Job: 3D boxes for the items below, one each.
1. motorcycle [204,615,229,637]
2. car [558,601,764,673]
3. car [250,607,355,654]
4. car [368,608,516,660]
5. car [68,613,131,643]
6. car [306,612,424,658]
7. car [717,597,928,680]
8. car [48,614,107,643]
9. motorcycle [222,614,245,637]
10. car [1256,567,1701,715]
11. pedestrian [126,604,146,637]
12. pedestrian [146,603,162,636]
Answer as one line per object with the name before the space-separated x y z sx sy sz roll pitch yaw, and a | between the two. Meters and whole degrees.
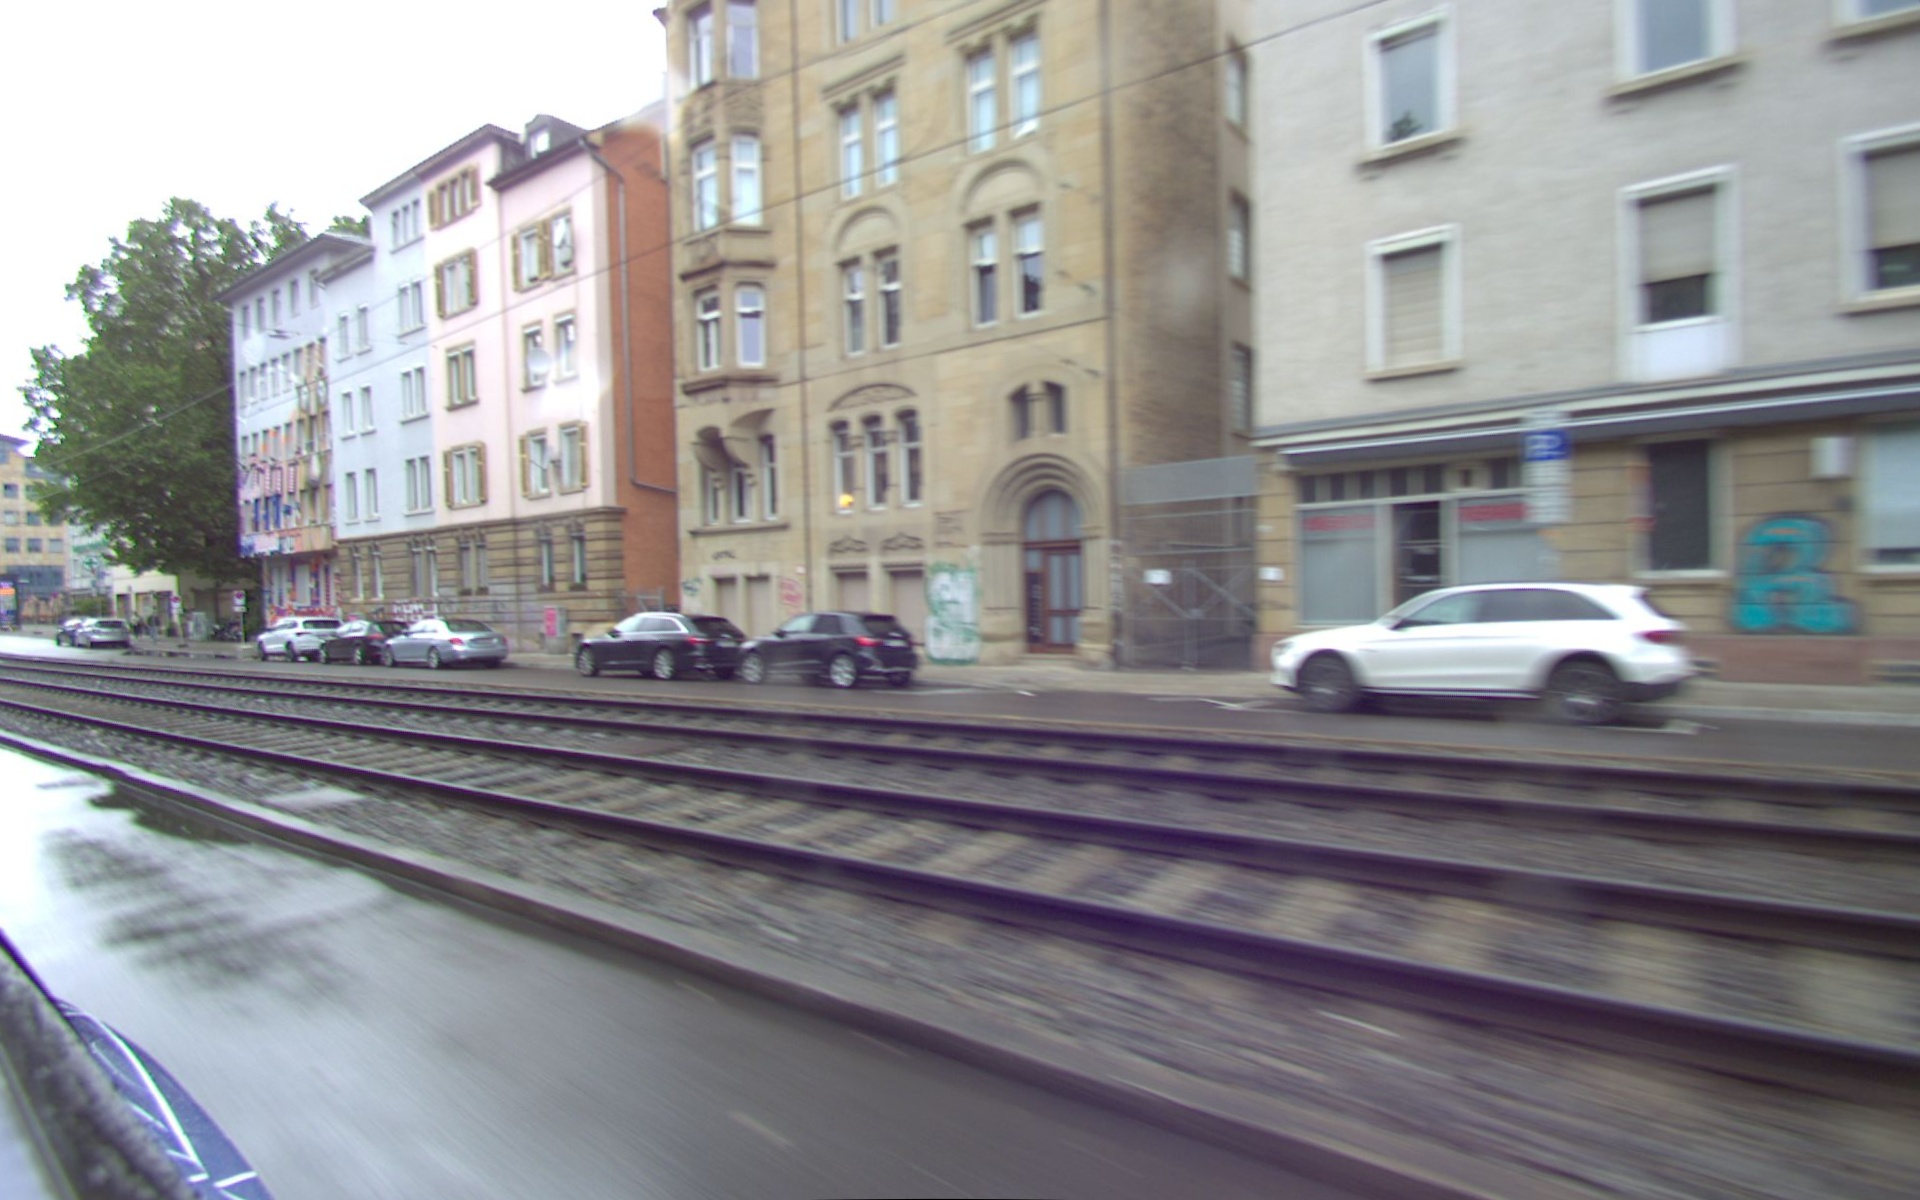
motorcycle | -41.411 1.457 56.365 2.563 1.154 0.467 -2 0 39
car | -6.922 0.845 23.183 5.014 1.467 1.975 -1 -3 37
car | -23.790 1.097 36.584 4.220 1.617 1.821 -1 -2 37
car | -15.307 1.012 29.774 5.015 1.408 1.974 -2 -3 39
car | -46.290 1.520 54.410 4.223 1.553 1.820 -2 -2 39
car | -19.455 1.123 33.057 4.258 1.408 1.821 -1 -1 37
car | -2.774 0.753 19.981 4.164 1.467 1.720 -1 -3 37
car | -50.138 1.623 57.482 4.223 1.553 1.820 -2 -2 39
motorcycle | -39.087 1.361 54.422 2.015 1.190 0.432 -2 0 39
car | 6.411 0.510 12.811 4.741 1.548 1.975 -1 -3 37
pedestrian | -47.853 1.210 58.763 0.536 1.883 0.799 -2 -1 41
pedestrian | -47.339 1.147 59.448 0.536 1.883 0.643 -2 -1 41
